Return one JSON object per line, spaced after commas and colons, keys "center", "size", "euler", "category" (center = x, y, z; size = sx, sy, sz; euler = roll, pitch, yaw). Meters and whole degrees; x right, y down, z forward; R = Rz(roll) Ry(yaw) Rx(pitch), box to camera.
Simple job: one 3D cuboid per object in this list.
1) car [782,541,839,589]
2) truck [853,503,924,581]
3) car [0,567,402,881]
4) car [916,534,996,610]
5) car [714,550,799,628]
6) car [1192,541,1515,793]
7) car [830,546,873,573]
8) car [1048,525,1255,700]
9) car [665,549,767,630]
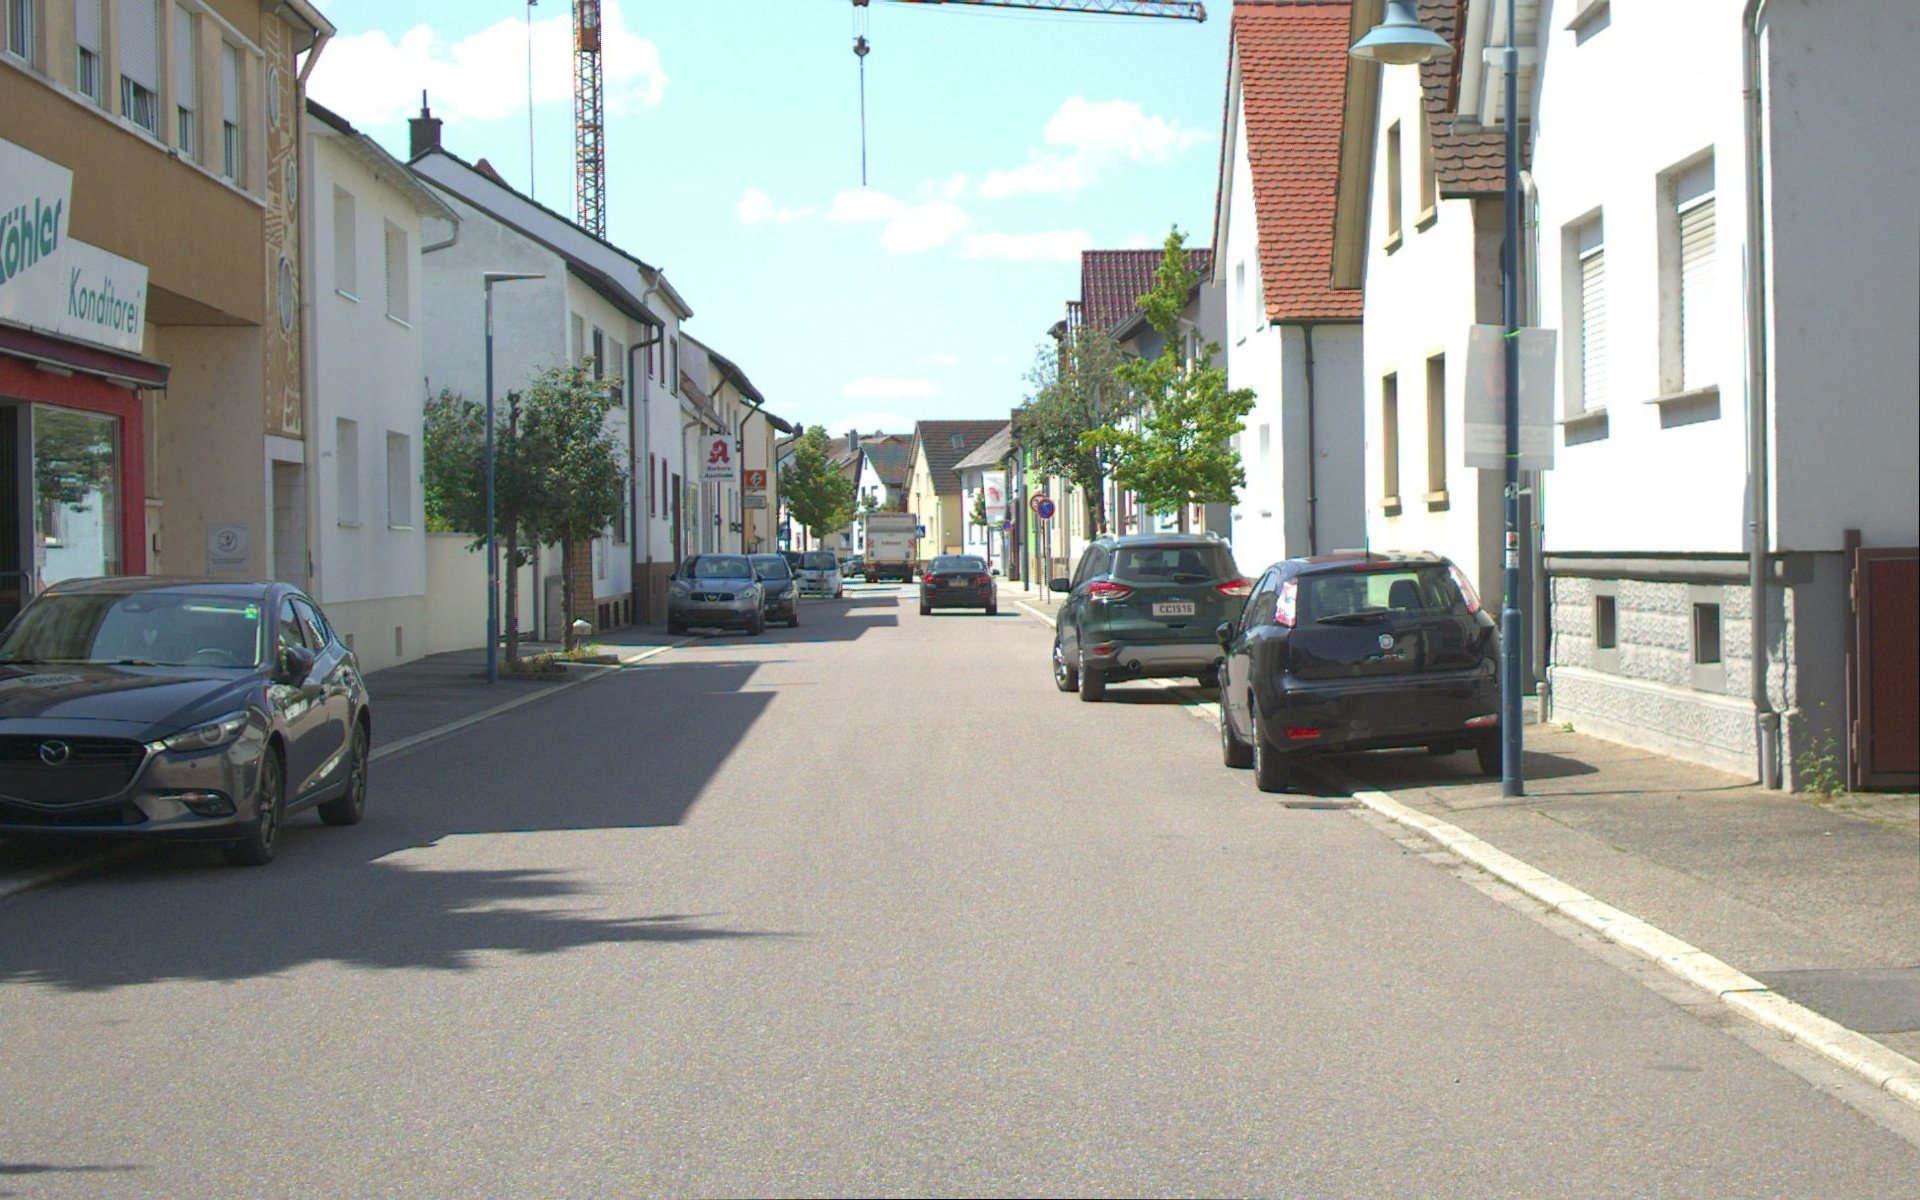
{"center": [-4.948, -1.173, 114.118], "size": [1.723, 1.550, 4.172], "euler": [1, 1, 0], "category": "car"}
{"center": [-3.813, -2.989, 180.195], "size": [3.378, 3.852, 13.927], "euler": [-2, 1, -2], "category": "truck"}
{"center": [-4.315, 0.576, 18.656], "size": [1.768, 1.455, 4.436], "euler": [-1, 1, 1], "category": "car"}
{"center": [-0.115, -0.691, 83.518], "size": [1.782, 1.747, 4.000], "euler": [-2, 1, -2], "category": "car"}
{"center": [-4.394, -0.266, 74.768], "size": [1.653, 1.603, 4.061], "euler": [-1, 1, -1], "category": "car"}
{"center": [2.609, 0.387, 23.596], "size": [1.617, 1.490, 3.972], "euler": [-3, 1, -1], "category": "car"}
{"center": [-7.265, -2.708, 230.502], "size": [1.820, 1.747, 4.230], "euler": [-2, 1, -16], "category": "car"}
{"center": [1.954, 0.085, 36.238], "size": [1.728, 1.711, 4.276], "euler": [-1, 1, -3], "category": "car"}
{"center": [-4.796, -0.232, 67.996], "size": [1.758, 1.519, 4.289], "euler": [-1, 1, -1], "category": "car"}
